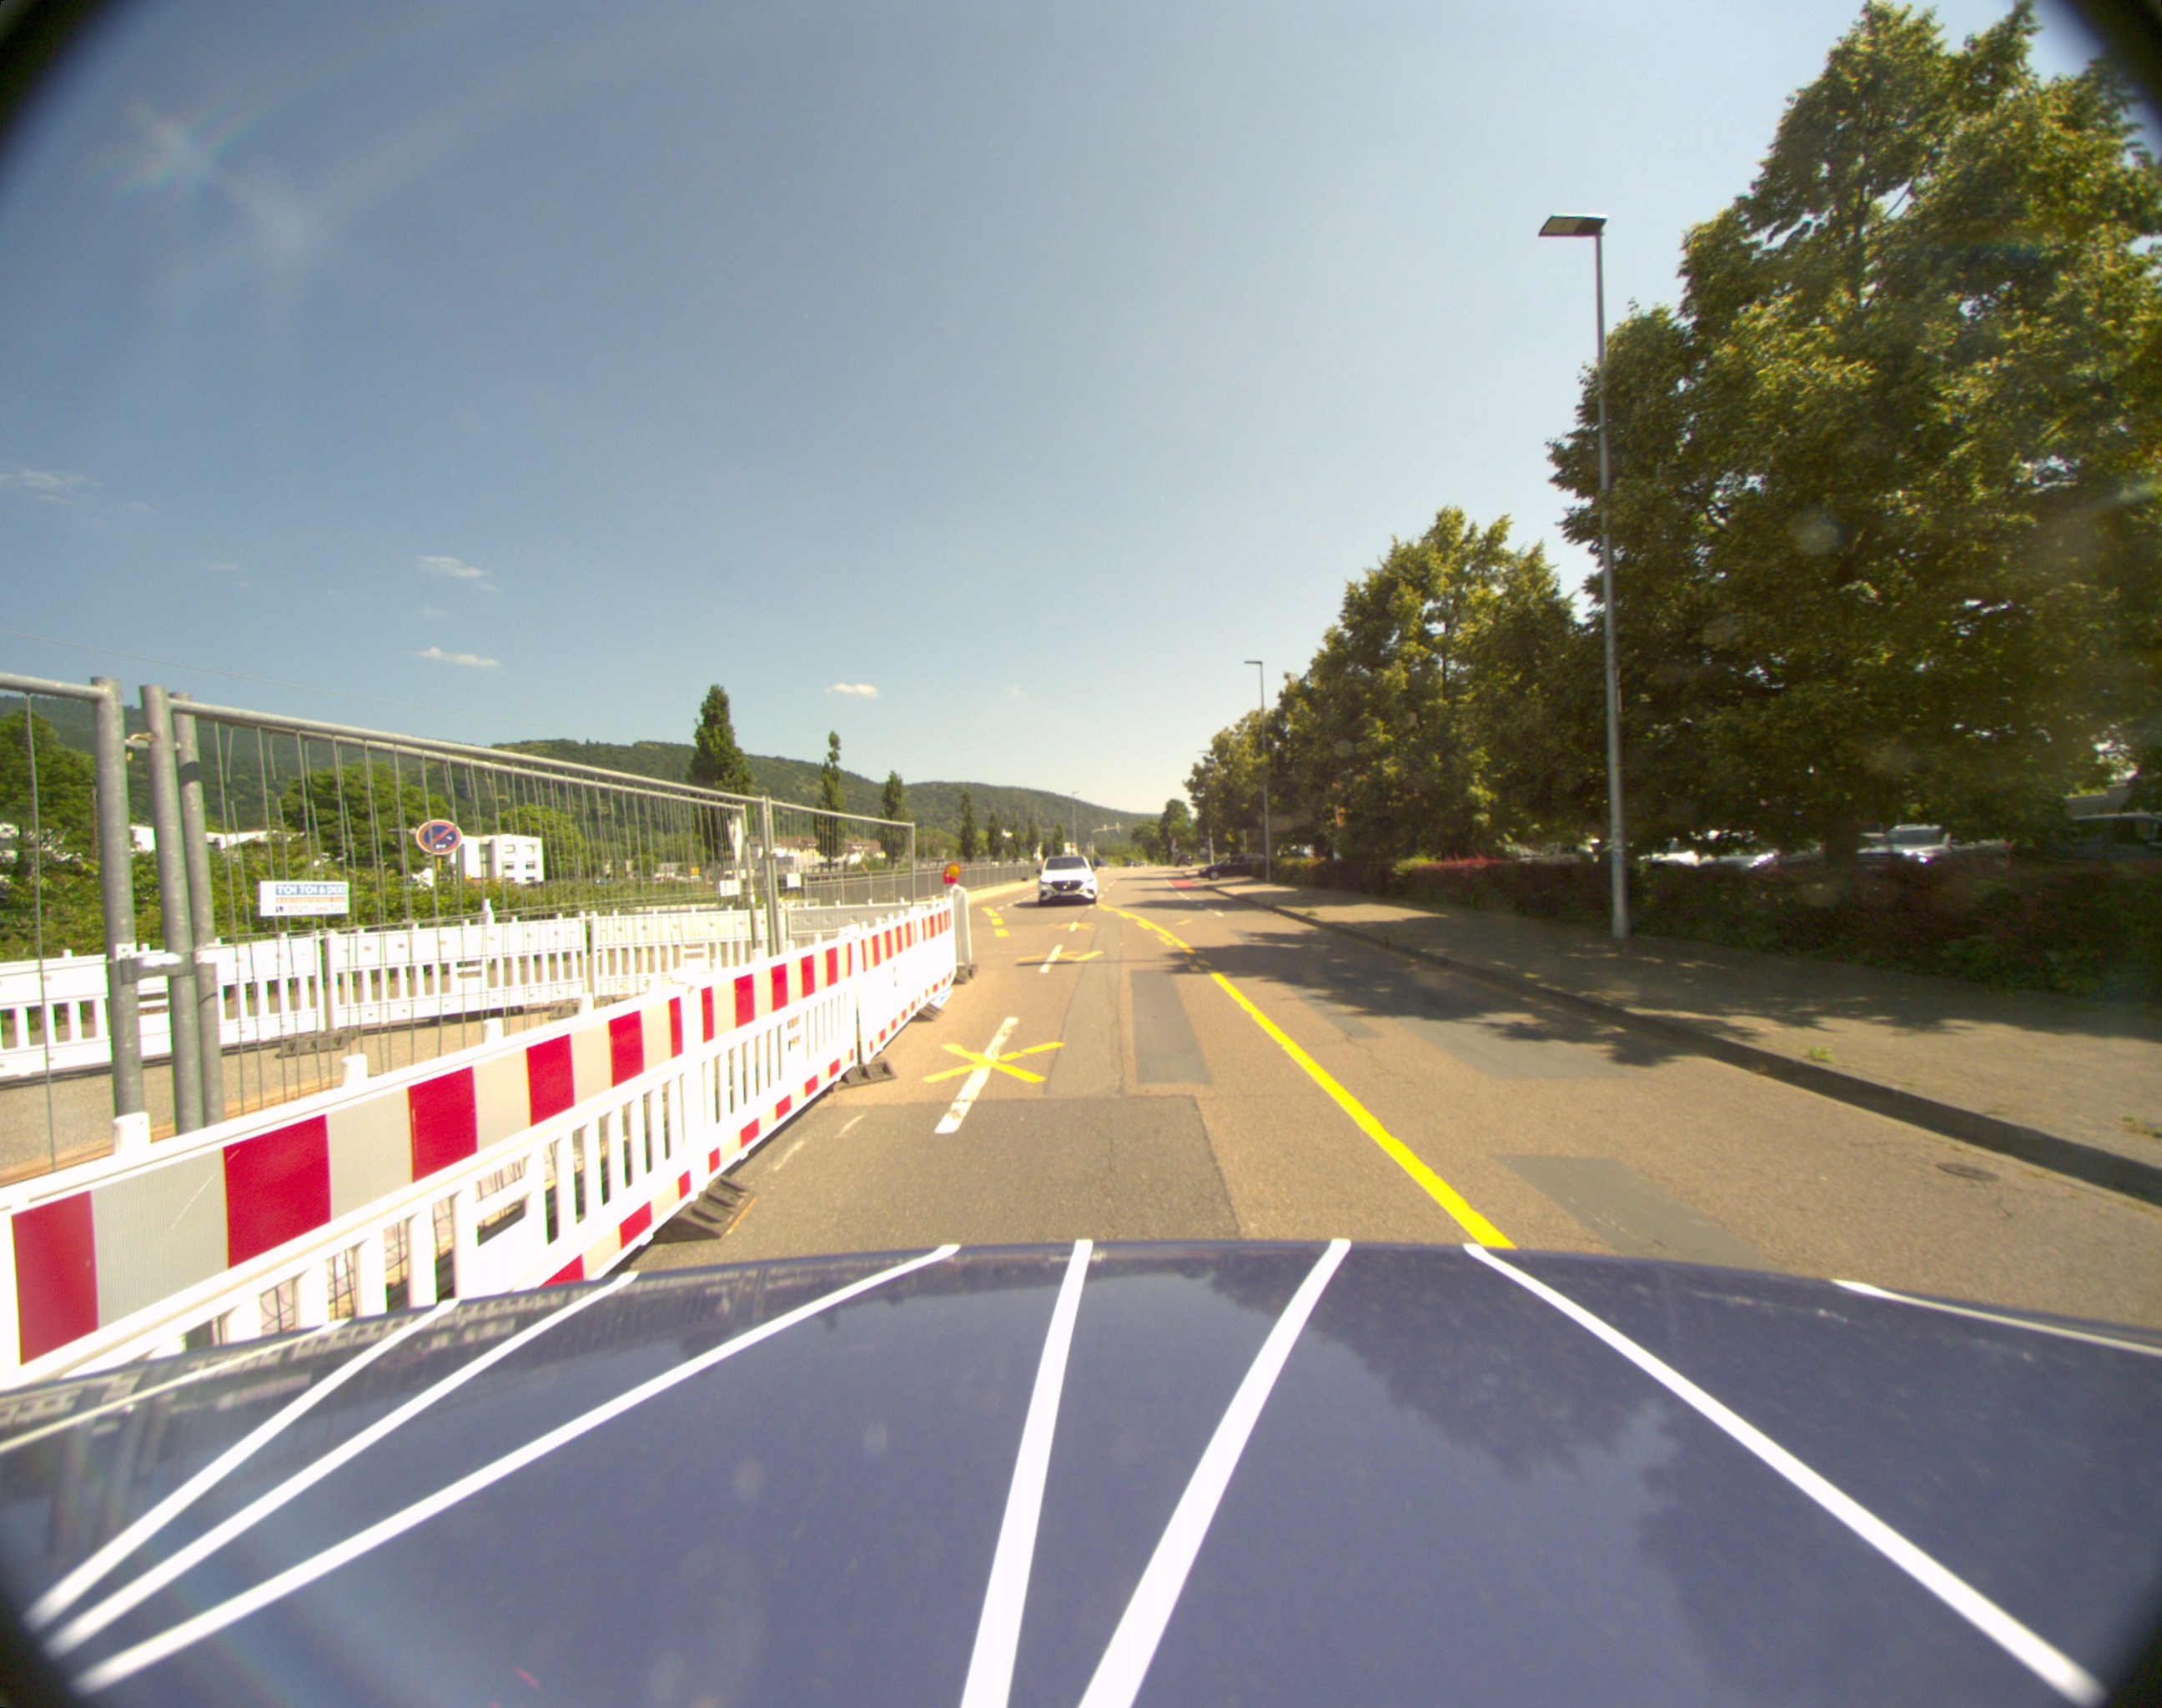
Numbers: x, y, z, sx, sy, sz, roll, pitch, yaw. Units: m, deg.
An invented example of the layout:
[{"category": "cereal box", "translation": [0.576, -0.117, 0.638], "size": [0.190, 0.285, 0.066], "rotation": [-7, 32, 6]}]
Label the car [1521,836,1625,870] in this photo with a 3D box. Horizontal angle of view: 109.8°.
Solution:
[{"category": "car", "translation": [24.525, -0.021, 38.029], "size": [1.921, 1.543, 4.137], "rotation": [-2, 0, -14]}]

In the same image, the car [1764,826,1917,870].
[{"category": "car", "translation": [32.878, -0.246, 33.080], "size": [1.862, 1.676, 4.362], "rotation": [-4, 1, -12]}]

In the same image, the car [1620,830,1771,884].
[{"category": "car", "translation": [21.403, 0.096, 26.494], "size": [4.314, 1.676, 1.860], "rotation": [-2, 0, -15]}]

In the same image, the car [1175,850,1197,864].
[{"category": "car", "translation": [13.039, 0.323, 94.331], "size": [1.996, 1.635, 4.533], "rotation": [-1, 0, 17]}]

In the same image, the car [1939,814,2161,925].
[{"category": "car", "translation": [17.169, 0.232, 12.182], "size": [1.861, 1.676, 4.367], "rotation": [0, 0, 0]}]

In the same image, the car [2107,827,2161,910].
[{"category": "car", "translation": [19.683, 0.252, 11.706], "size": [1.861, 1.444, 4.367], "rotation": [0, 0, 0]}]

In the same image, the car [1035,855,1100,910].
[{"category": "car", "translation": [-0.492, 0.930, 26.862], "size": [1.999, 1.635, 5.030], "rotation": [-3, 0, -2]}]

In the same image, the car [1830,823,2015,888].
[{"category": "car", "translation": [24.494, 0.032, 22.150], "size": [4.369, 1.676, 1.860], "rotation": [-2, 0, -16]}]

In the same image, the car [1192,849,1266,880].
[{"category": "car", "translation": [8.576, 0.620, 44.361], "size": [3.995, 1.455, 1.881], "rotation": [-4, 0, 6]}]

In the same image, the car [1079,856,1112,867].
[{"category": "car", "translation": [2.185, 1.157, 115.458], "size": [4.516, 1.635, 2.004], "rotation": [-1, 0, 29]}]
